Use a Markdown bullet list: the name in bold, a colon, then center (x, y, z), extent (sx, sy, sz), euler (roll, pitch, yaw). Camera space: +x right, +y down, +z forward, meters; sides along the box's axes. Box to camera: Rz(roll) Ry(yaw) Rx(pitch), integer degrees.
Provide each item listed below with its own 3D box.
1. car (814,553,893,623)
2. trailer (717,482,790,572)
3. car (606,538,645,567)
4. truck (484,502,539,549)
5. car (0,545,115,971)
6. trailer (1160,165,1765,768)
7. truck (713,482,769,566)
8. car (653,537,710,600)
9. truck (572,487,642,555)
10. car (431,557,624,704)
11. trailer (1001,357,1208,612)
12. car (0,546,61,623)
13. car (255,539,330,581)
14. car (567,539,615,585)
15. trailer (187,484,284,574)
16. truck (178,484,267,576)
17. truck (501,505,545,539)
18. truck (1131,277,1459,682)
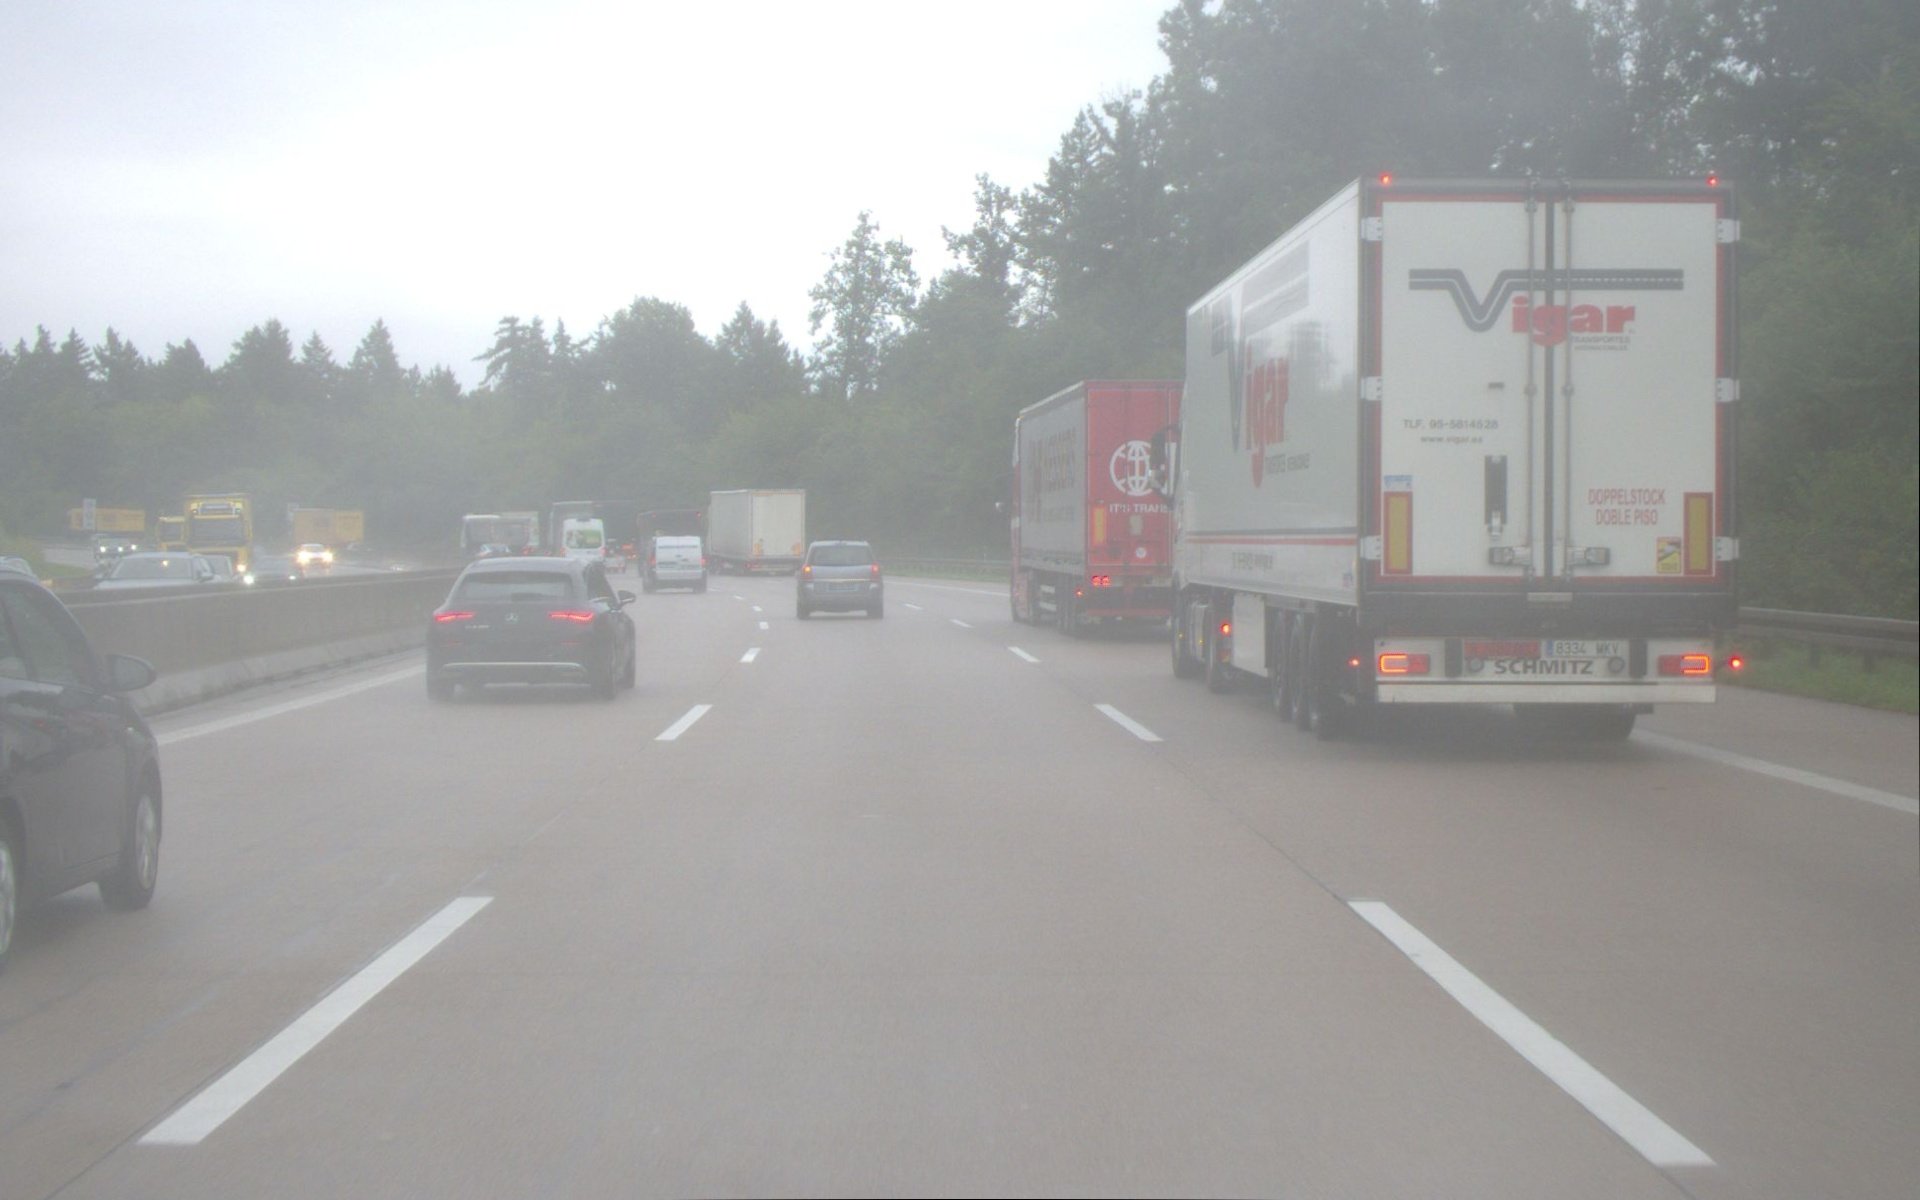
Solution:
- **car**: center (-2.228, -0.262, 71.332), extent (1.553, 1.347, 3.684), euler (2, 1, -3)
- **trailer**: center (-9.764, -3.494, 161.786), extent (2.419, 4.054, 12.058), euler (0, 2, -8)
- **car**: center (-17.680, -2.507, 181.716), extent (1.881, 1.468, 4.001), euler (2, 1, -4)
- **truck**: center (-28.868, -4.822, 221.426), extent (3.082, 2.895, 7.905), euler (1, 2, -4)
- **car**: center (-4.287, 0.522, 12.913), extent (1.683, 1.457, 3.684), euler (2, 1, -7)
- **trailer**: center (3.827, -1.047, 30.247), extent (2.734, 4.089, 13.684), euler (0, 1, -3)
- **truck**: center (-10.762, -3.773, 168.814), extent (2.419, 4.054, 4.980), euler (0, 2, -8)
- **car**: center (-9.118, -1.048, 112.240), extent (1.725, 2.007, 3.658), euler (-1, 1, -6)
- **truck**: center (-21.940, -4.945, 213.020), extent (3.368, 4.117, 10.441), euler (0, 2, -11)
- **car**: center (-4.333, 0.270, 34.878), extent (1.553, 1.347, 3.684), euler (2, 1, -2)
- **trailer**: center (2.327, -1.944, 59.994), extent (2.370, 3.940, 12.522), euler (1, 1, -3)
- **car**: center (-18.122, -0.309, 63.971), extent (1.658, 1.367, 4.721), euler (0, 1, -2)
- **car**: center (-21.824, -1.315, 112.540), extent (1.802, 1.329, 4.565), euler (0, 1, -3)
- **car**: center (-16.981, -1.742, 157.931), extent (1.993, 2.052, 4.001), euler (-1, 1, -9)
- **trailer**: center (-32.760, -3.212, 155.934), extent (3.013, 3.861, 13.704), euler (0, 1, -6)
- **truck**: center (-31.989, -3.041, 149.326), extent (3.025, 3.861, 8.119), euler (0, 1, -7)
- **truck**: center (-31.004, -5.520, 243.937), extent (2.974, 2.301, 6.669), euler (2, 1, -7)
- **truck**: center (3.545, -1.276, 37.794), extent (2.798, 4.089, 5.968), euler (0, 1, -2)
